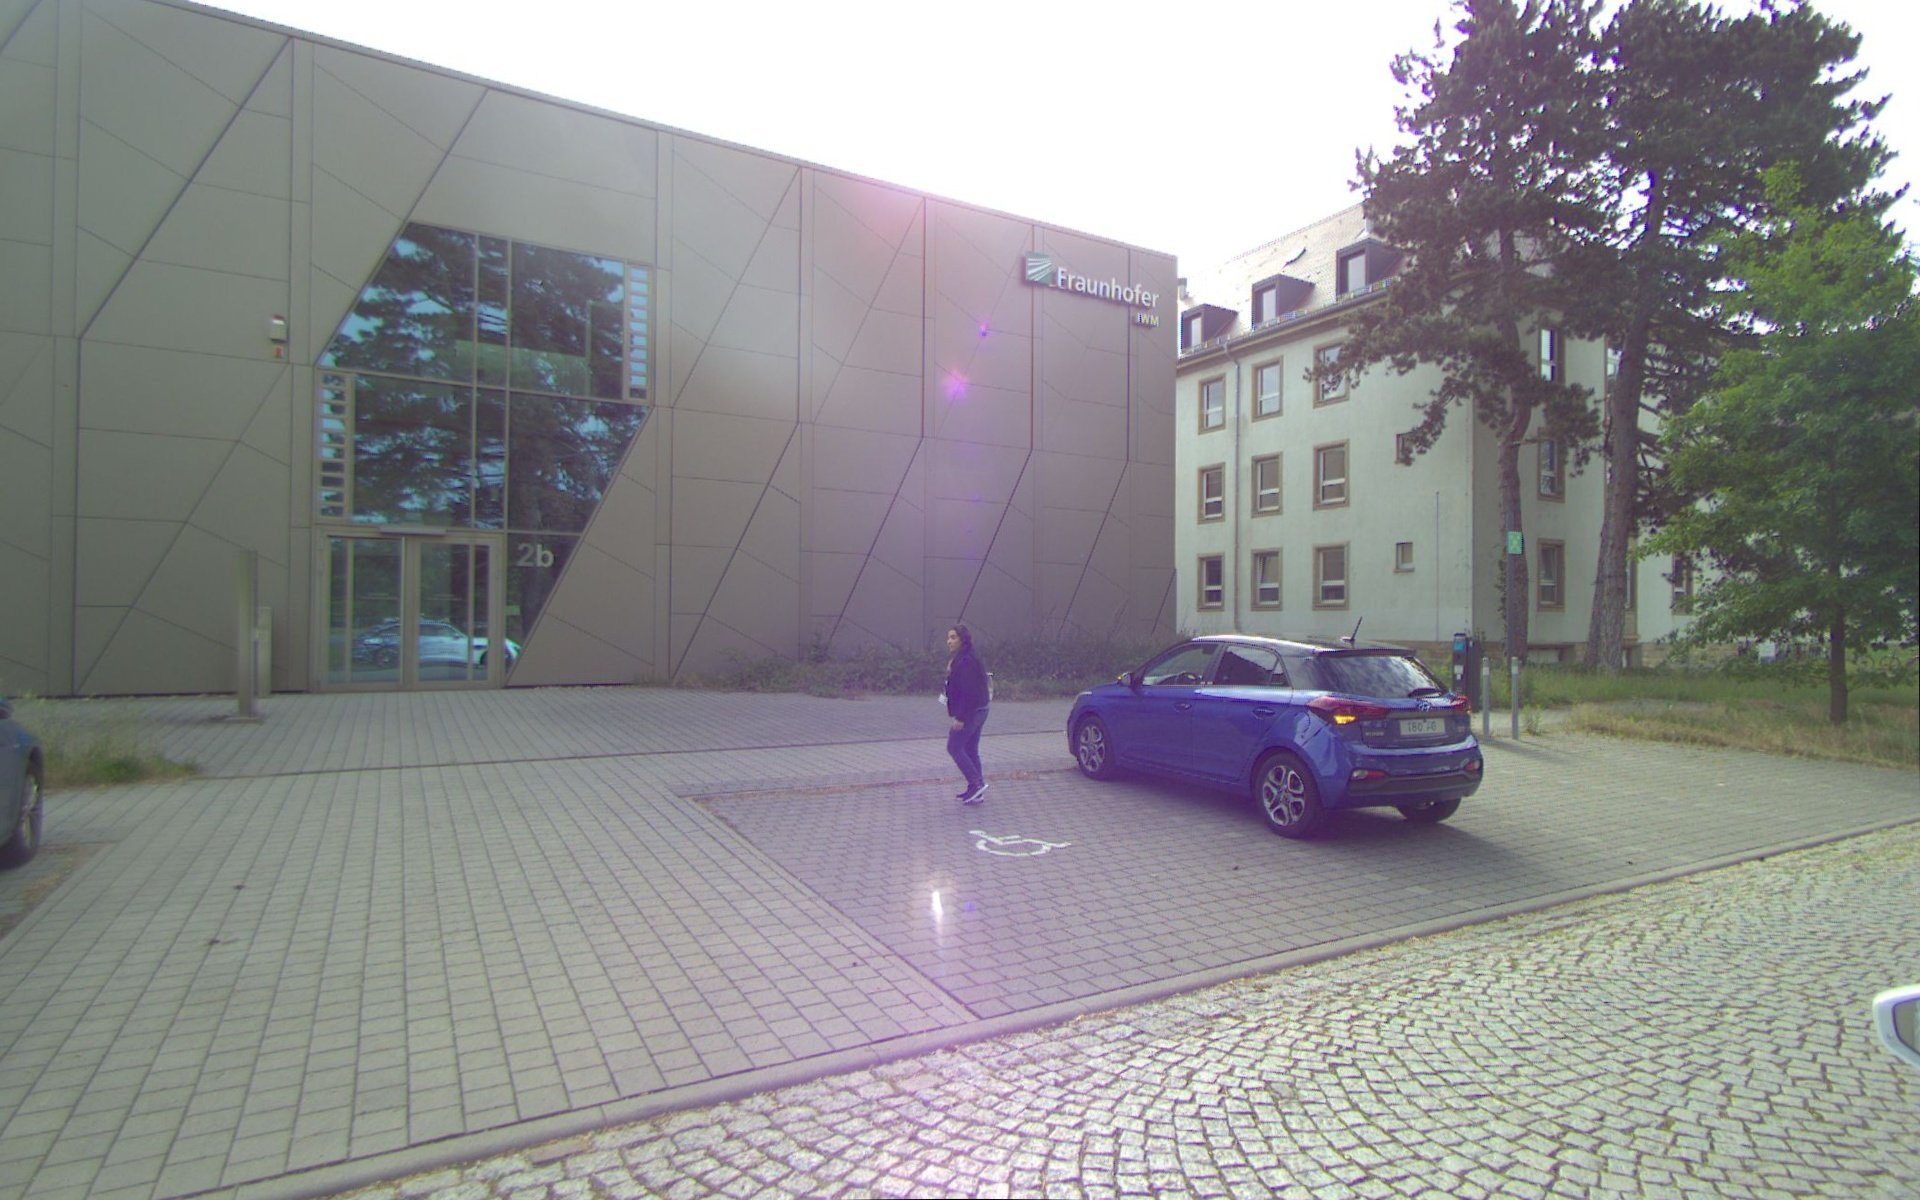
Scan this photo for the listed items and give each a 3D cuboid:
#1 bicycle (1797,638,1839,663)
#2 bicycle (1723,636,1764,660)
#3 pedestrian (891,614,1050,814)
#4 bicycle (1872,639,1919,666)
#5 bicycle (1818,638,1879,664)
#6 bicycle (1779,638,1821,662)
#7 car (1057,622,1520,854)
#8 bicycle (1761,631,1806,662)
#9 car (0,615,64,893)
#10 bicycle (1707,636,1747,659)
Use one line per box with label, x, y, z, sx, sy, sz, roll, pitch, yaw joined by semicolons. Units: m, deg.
bicycle;38.770;2.264;45.398;2.246;1.090;0.732;1;-2;-30
bicycle;37.312;2.275;47.817;2.246;1.090;0.732;1;-2;-30
pedestrian;0.093;0.917;8.483;0.971;1.514;0.815;3;0;39
bicycle;39.364;2.180;41.845;0.821;1.090;1.849;1;-2;-27
bicycle;38.421;2.202;43.473;0.729;1.090;1.849;1;-2;-27
bicycle;38.392;2.280;45.918;2.246;1.090;0.732;1;-2;-30
car;2.647;1.001;8.980;1.828;1.497;3.752;1;0;-27
bicycle;38.337;2.151;46.748;2.679;1.404;0.732;1;-1;-30
car;-5.484;0.829;4.306;1.755;1.447;4.280;1;0;-32
bicycle;37.021;2.286;48.493;2.246;1.090;0.732;1;-2;-30
